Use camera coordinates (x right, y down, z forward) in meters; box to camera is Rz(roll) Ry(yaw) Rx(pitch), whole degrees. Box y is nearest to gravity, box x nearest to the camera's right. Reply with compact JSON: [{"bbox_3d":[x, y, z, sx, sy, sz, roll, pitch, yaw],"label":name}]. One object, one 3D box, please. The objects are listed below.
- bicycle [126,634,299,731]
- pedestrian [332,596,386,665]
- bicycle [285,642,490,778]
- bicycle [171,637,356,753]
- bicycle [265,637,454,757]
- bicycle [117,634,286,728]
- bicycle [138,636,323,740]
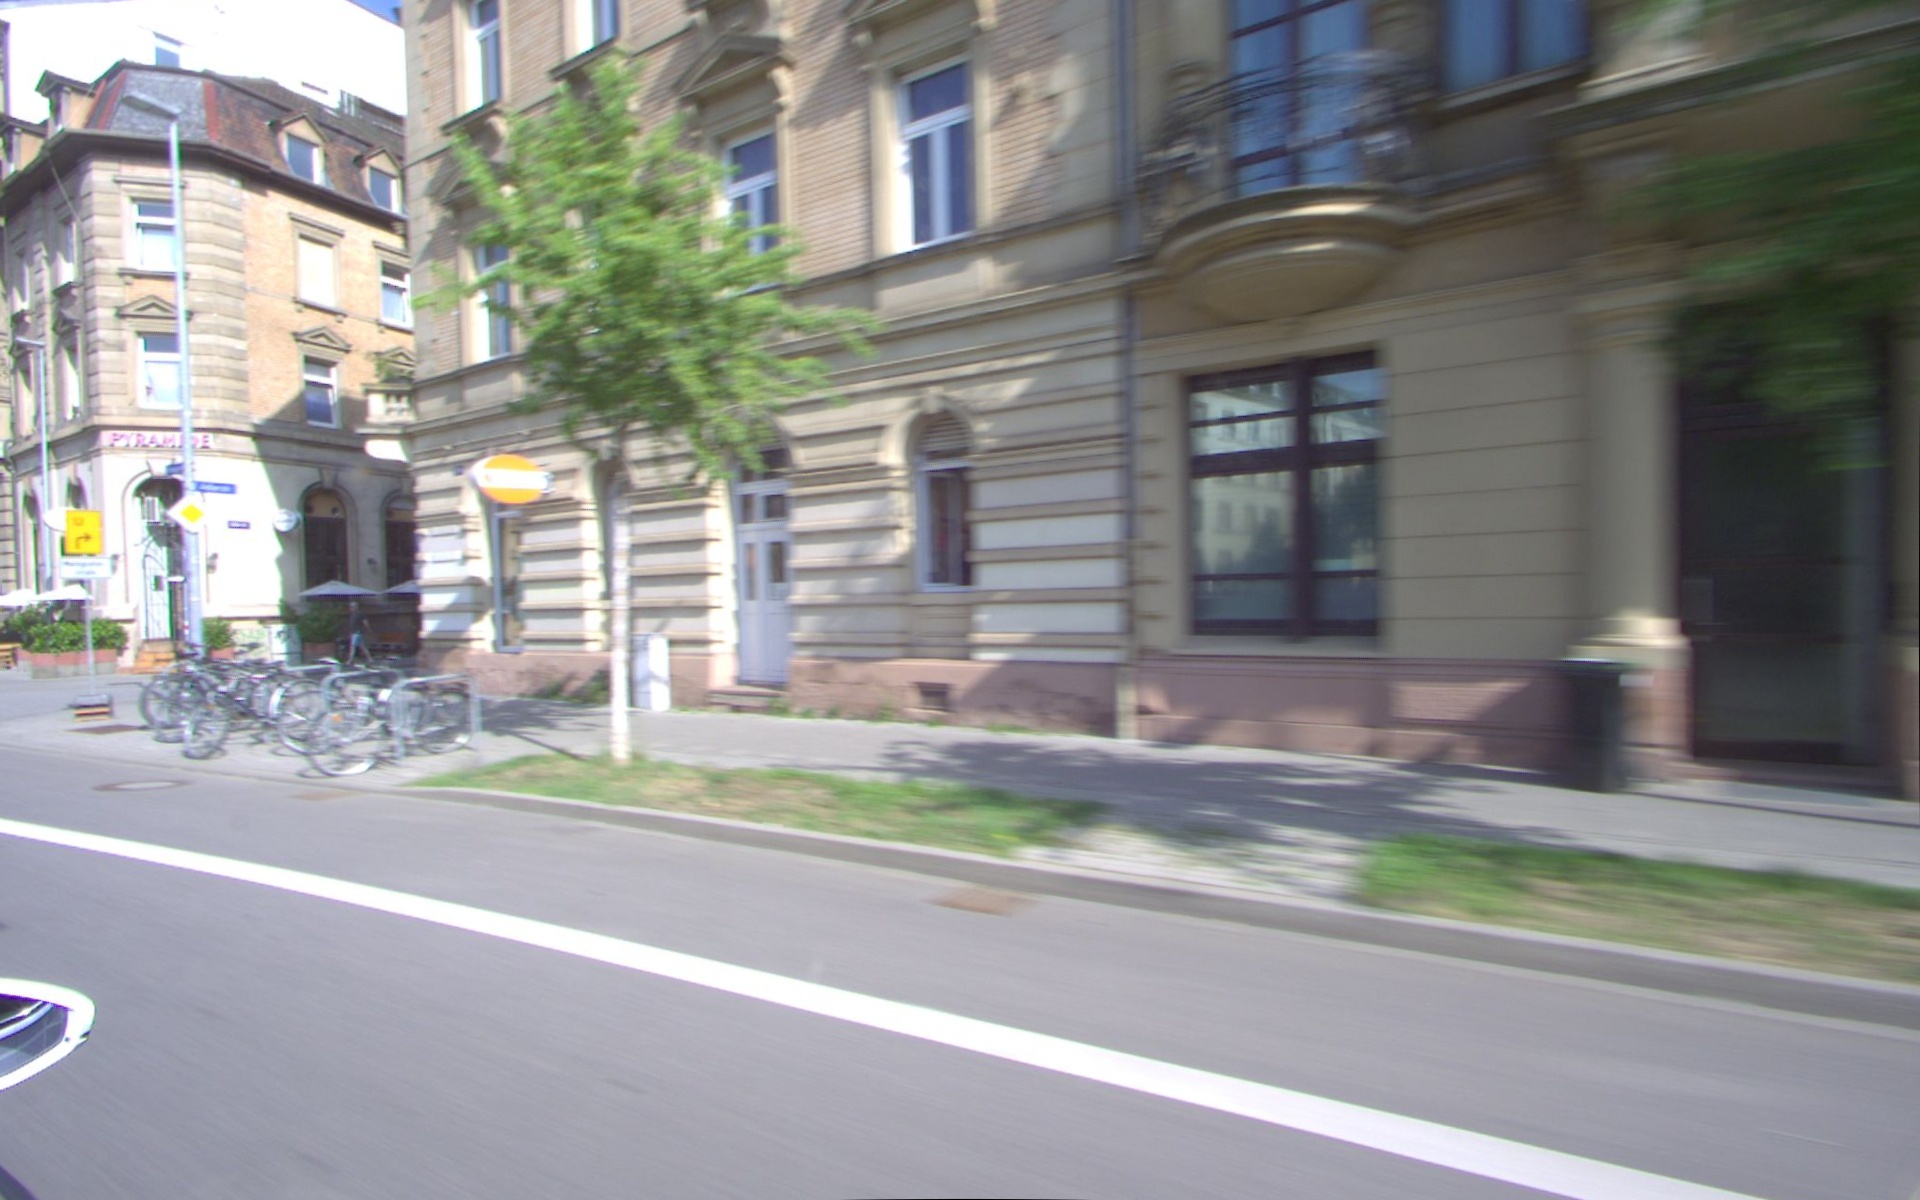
[{"bbox_3d":[-10.118,1.080,13.623,0.575,1.102,1.745,0,3,36],"label":"bicycle"},{"bbox_3d":[-16.625,0.825,27.713,0.978,1.831,0.860,1,3,29],"label":"pedestrian"},{"bbox_3d":[-5.799,1.073,10.275,0.601,1.103,1.754,-1,3,24],"label":"bicycle"},{"bbox_3d":[-8.121,1.076,11.788,0.660,1.103,1.758,-2,3,11],"label":"bicycle"},{"bbox_3d":[-6.838,1.065,11.513,0.647,1.103,1.754,-1,3,24],"label":"bicycle"},{"bbox_3d":[-10.568,1.096,14.018,0.575,1.102,1.745,0,3,36],"label":"bicycle"},{"bbox_3d":[-9.224,1.071,12.725,0.660,1.102,1.747,0,3,38],"label":"bicycle"}]
